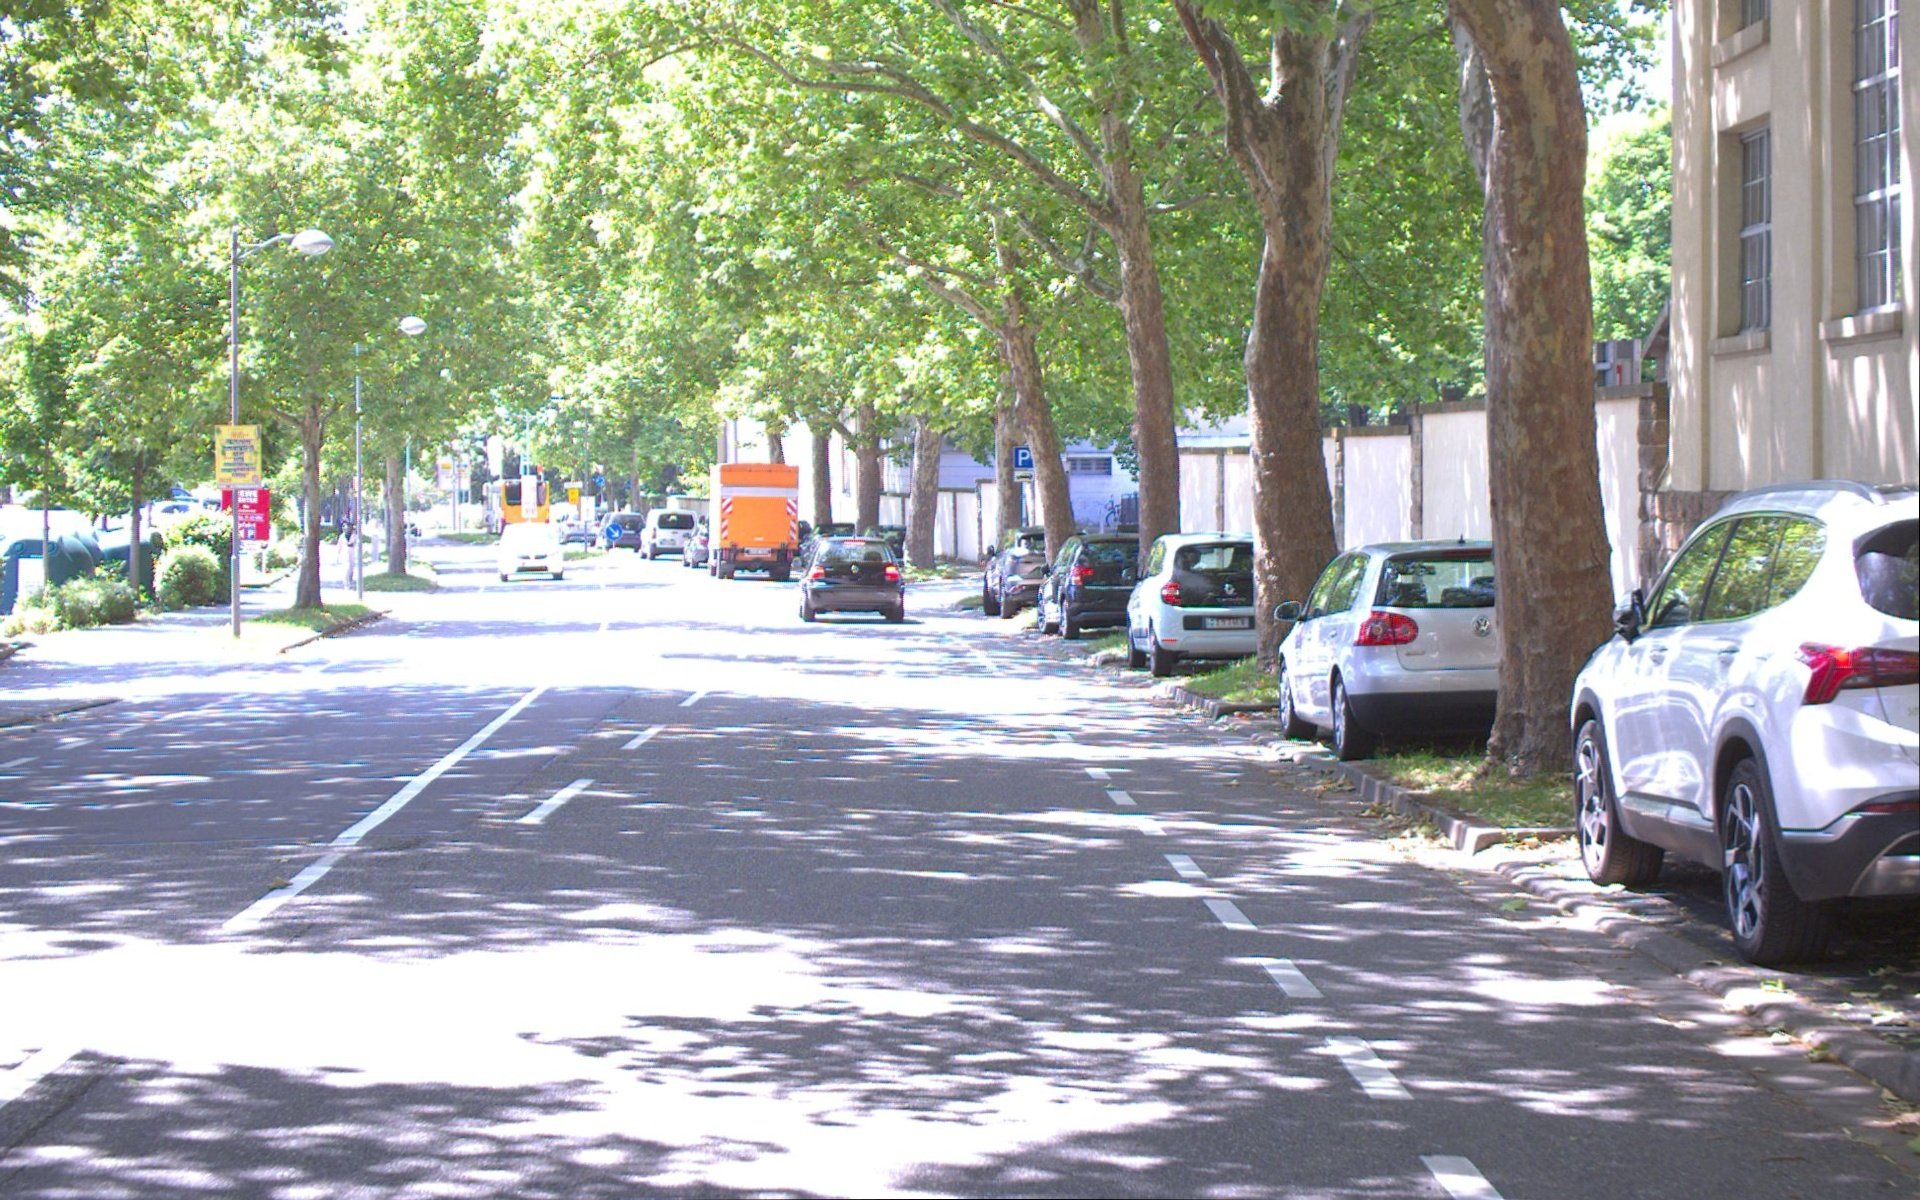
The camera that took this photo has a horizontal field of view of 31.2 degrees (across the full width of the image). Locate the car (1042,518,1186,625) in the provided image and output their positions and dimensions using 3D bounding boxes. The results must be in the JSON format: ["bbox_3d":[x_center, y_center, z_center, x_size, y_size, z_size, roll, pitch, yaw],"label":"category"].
[{"bbox_3d":[2.243,-0.448,50.979,1.766,1.461,3.876,-2,1,-2],"label":"car"}]

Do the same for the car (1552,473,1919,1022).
[{"bbox_3d":[3.601,0.371,12.962,1.808,1.683,4.752,-2,1,-1],"label":"car"}]

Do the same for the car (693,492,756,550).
[{"bbox_3d":[-7.422,-2.461,108.097,1.776,1.698,4.001,-1,0,-7],"label":"car"}]

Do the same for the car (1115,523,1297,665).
[{"bbox_3d":[2.708,-0.107,38.539,1.577,1.461,3.876,-2,1,-2],"label":"car"}]

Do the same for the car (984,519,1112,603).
[{"bbox_3d":[1.521,-0.712,60.672,1.766,1.369,3.731,-2,1,-5],"label":"car"}]

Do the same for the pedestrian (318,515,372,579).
[{"bbox_3d":[-14.775,-1.274,82.566,1.093,1.515,0.970,-1,1,-22],"label":"pedestrian"}]

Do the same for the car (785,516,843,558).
[{"bbox_3d":[-5.108,-2.215,119.965,1.766,1.369,3.731,-2,1,-5],"label":"car"}]

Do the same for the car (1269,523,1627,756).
[{"bbox_3d":[3.312,0.213,24.011,1.766,1.428,3.876,-2,1,-2],"label":"car"}]

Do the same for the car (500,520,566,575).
[{"bbox_3d":[-11.648,-1.442,93.969,1.710,1.442,4.059,-2,1,-6],"label":"car"}]

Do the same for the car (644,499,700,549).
[{"bbox_3d":[-10.234,-2.684,121.925,1.879,1.680,4.001,-1,0,-5],"label":"car"}]

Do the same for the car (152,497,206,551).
[{"bbox_3d":[-30.763,-2.972,135.308,1.993,2.007,4.001,-1,0,-13],"label":"car"}]

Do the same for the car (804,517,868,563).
[{"bbox_3d":[-3.944,-1.915,108.986,1.766,1.369,3.731,-2,1,-5],"label":"car"}]

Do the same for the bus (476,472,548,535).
[{"bbox_3d":[-24.115,-5.127,184.583,2.663,3.139,11.201,-2,1,-13],"label":"bus"}]

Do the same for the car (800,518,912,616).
[{"bbox_3d":[-1.808,-0.598,58.874,1.711,1.442,4.059,-2,3,-4],"label":"car"}]

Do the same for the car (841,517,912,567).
[{"bbox_3d":[-2.384,-1.652,97.541,1.766,1.369,3.730,-1,1,-5],"label":"car"}]

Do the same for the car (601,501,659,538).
[{"bbox_3d":[-13.209,-3.222,137.502,1.766,1.369,3.731,-2,1,-13],"label":"car"}]

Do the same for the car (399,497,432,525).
[{"bbox_3d":[-33.886,-5.550,213.931,1.720,1.711,4.001,-1,1,-13],"label":"car"}]

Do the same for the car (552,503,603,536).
[{"bbox_3d":[-17.119,-3.584,153.762,1.766,1.369,3.731,-2,1,-13],"label":"car"}]

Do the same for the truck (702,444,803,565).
[{"bbox_3d":[-5.736,-2.558,94.275,2.370,3.123,5.770,-1,0,-7],"label":"truck"}]
